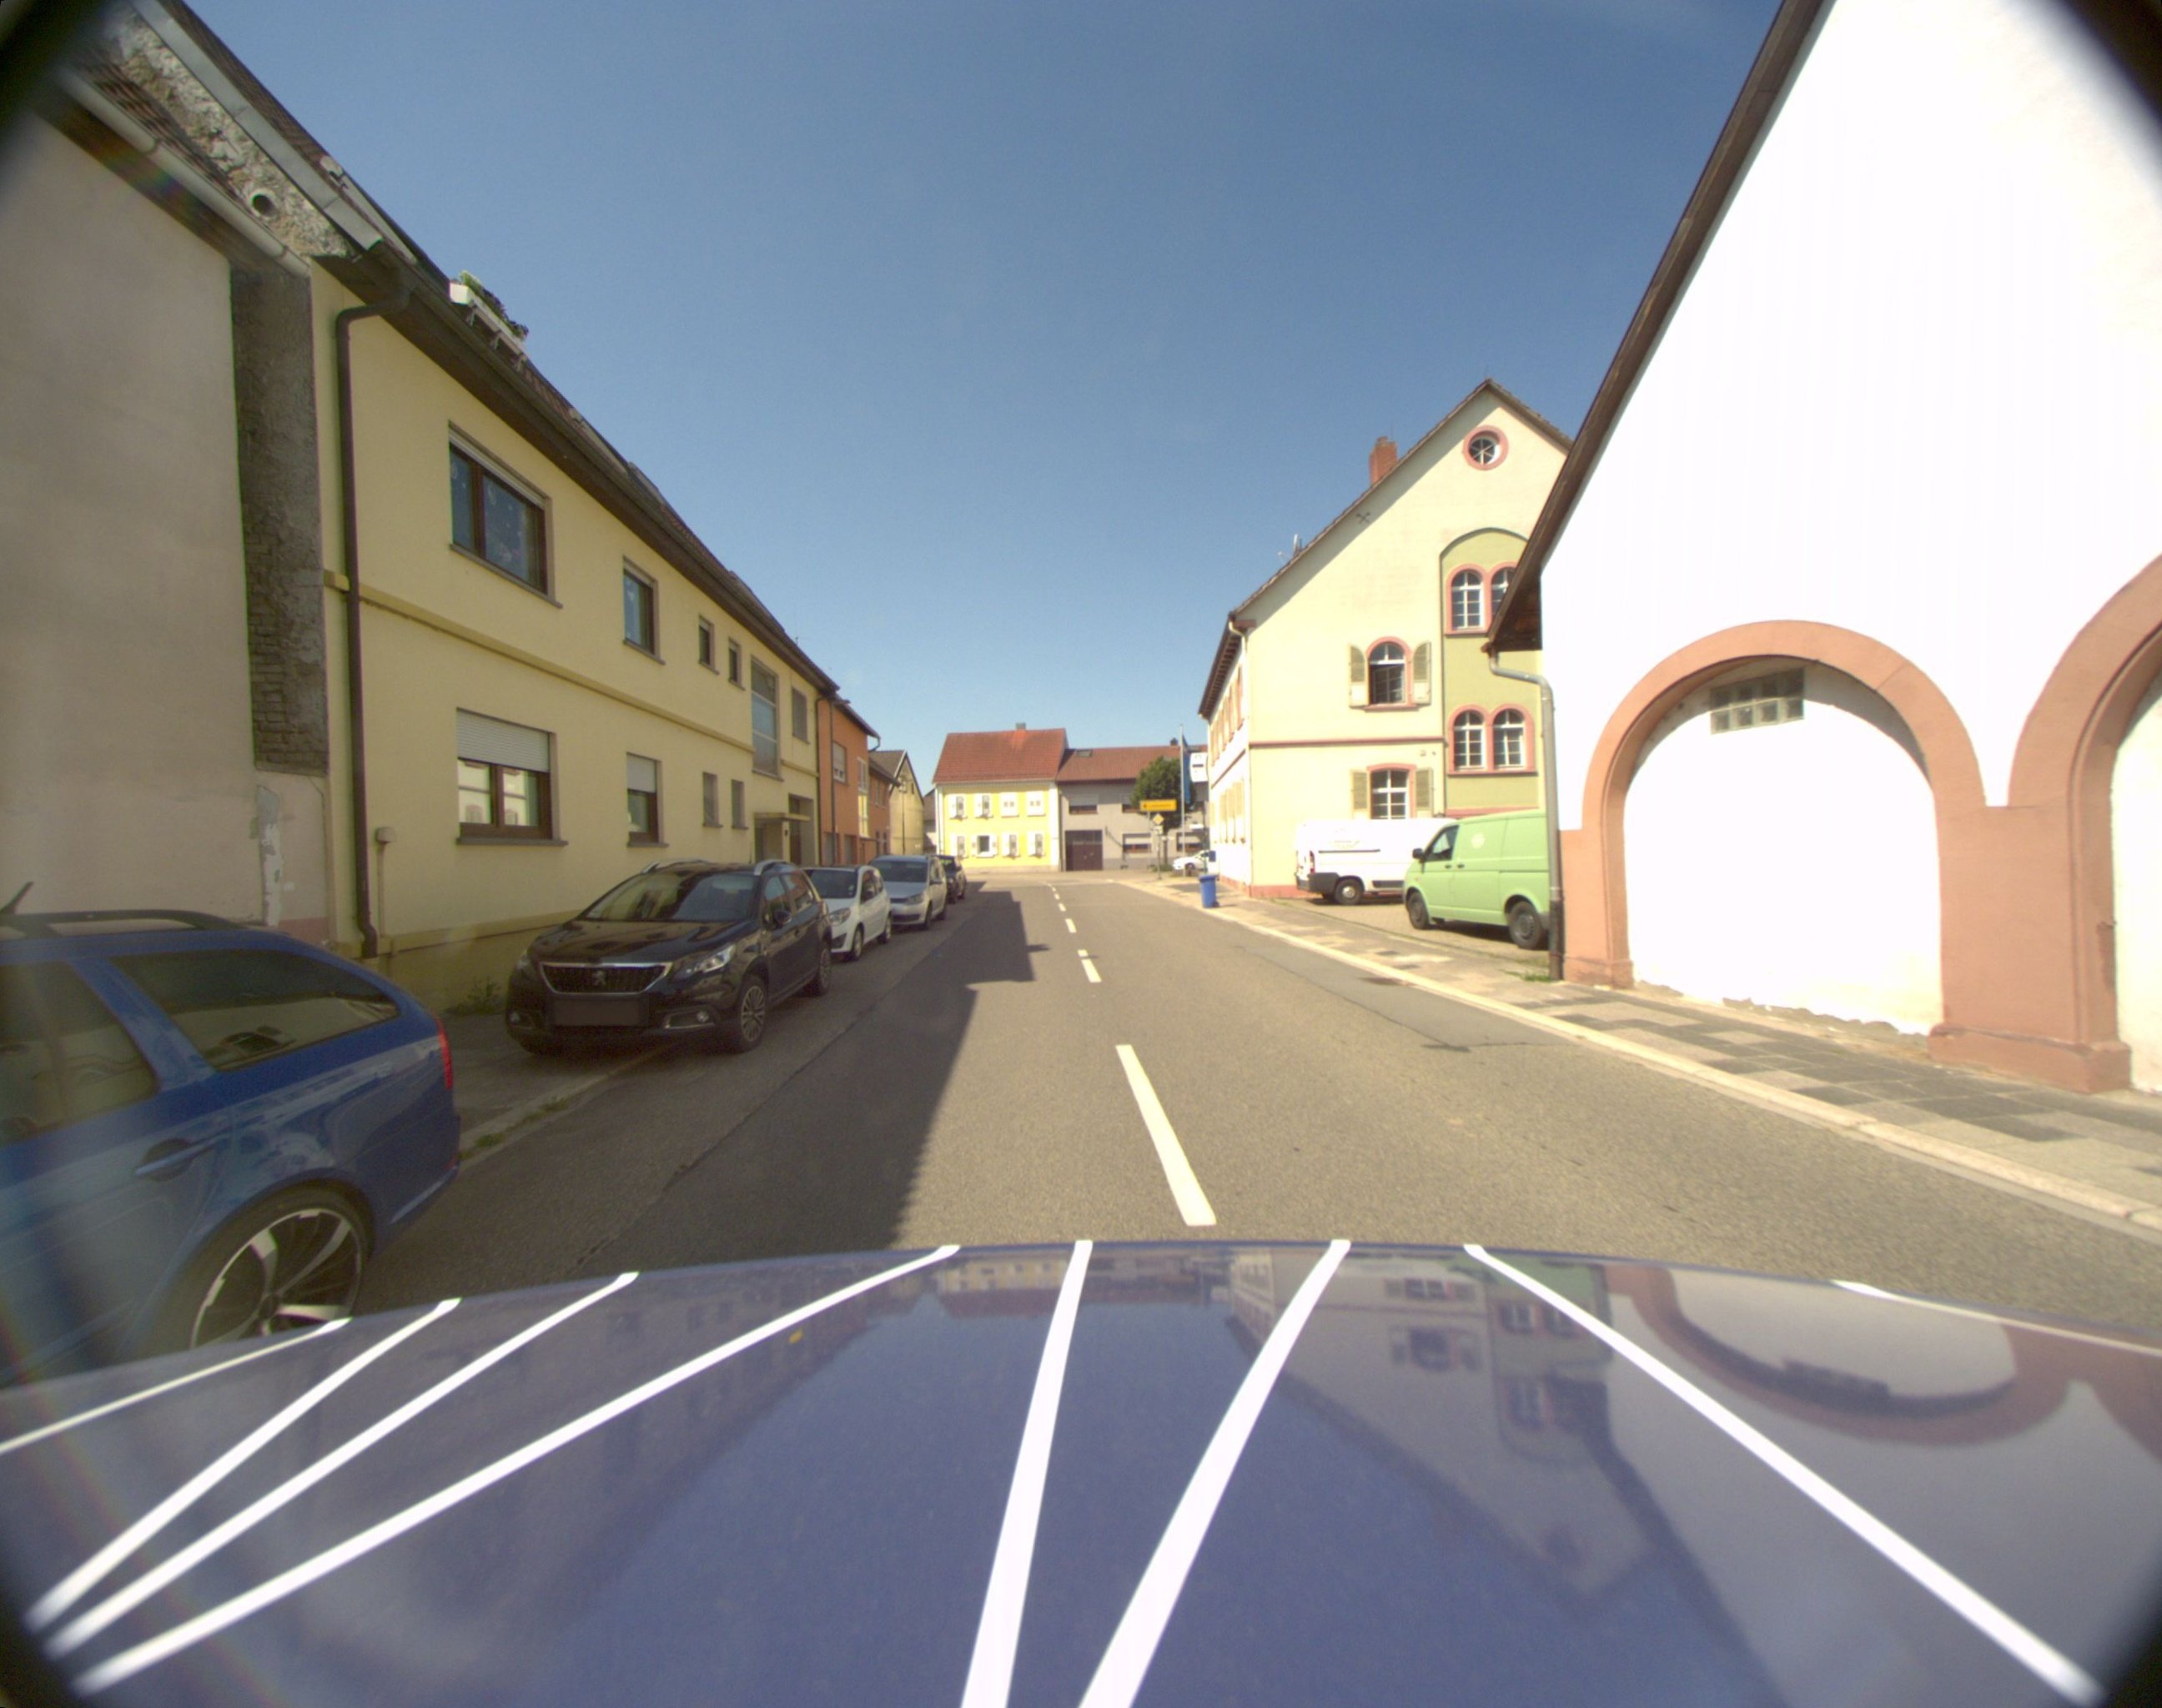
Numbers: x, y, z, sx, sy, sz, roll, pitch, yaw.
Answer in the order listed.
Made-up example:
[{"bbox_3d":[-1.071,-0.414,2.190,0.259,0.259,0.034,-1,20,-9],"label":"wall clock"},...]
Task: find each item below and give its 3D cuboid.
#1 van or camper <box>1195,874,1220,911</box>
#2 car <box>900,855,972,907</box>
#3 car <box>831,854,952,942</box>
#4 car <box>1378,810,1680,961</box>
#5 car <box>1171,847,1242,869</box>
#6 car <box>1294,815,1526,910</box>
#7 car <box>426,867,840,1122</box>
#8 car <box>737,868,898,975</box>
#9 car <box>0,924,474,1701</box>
[{"bbox_3d":[3.474,1.053,20.855,0.591,0.946,0.600,-2,1,2],"label":"van or camper"},{"bbox_3d":[-5.166,0.893,27.775,1.849,1.693,5.178,-1,0,-3],"label":"car"},{"bbox_3d":[-4.249,0.894,17.758,1.903,1.718,4.247,-2,1,-3],"label":"car"},{"bbox_3d":[6.857,0.402,12.391,1.999,1.953,4.668,-2,0,-2],"label":"car"},{"bbox_3d":[8.781,0.272,53.384,4.512,1.432,1.854,-2,1,-7],"label":"car"},{"bbox_3d":[8.462,0.223,20.021,5.186,2.184,2.123,-2,1,7],"label":"car"},{"bbox_3d":[-3.594,0.959,7.066,1.704,1.574,4.025,0,0,-5],"label":"car"},{"bbox_3d":[-4.207,0.997,12.699,1.555,1.430,3.719,0,0,-3],"label":"car"},{"bbox_3d":[-2.994,1.018,0.648,1.704,1.461,4.407,0,0,-5],"label":"car"}]
